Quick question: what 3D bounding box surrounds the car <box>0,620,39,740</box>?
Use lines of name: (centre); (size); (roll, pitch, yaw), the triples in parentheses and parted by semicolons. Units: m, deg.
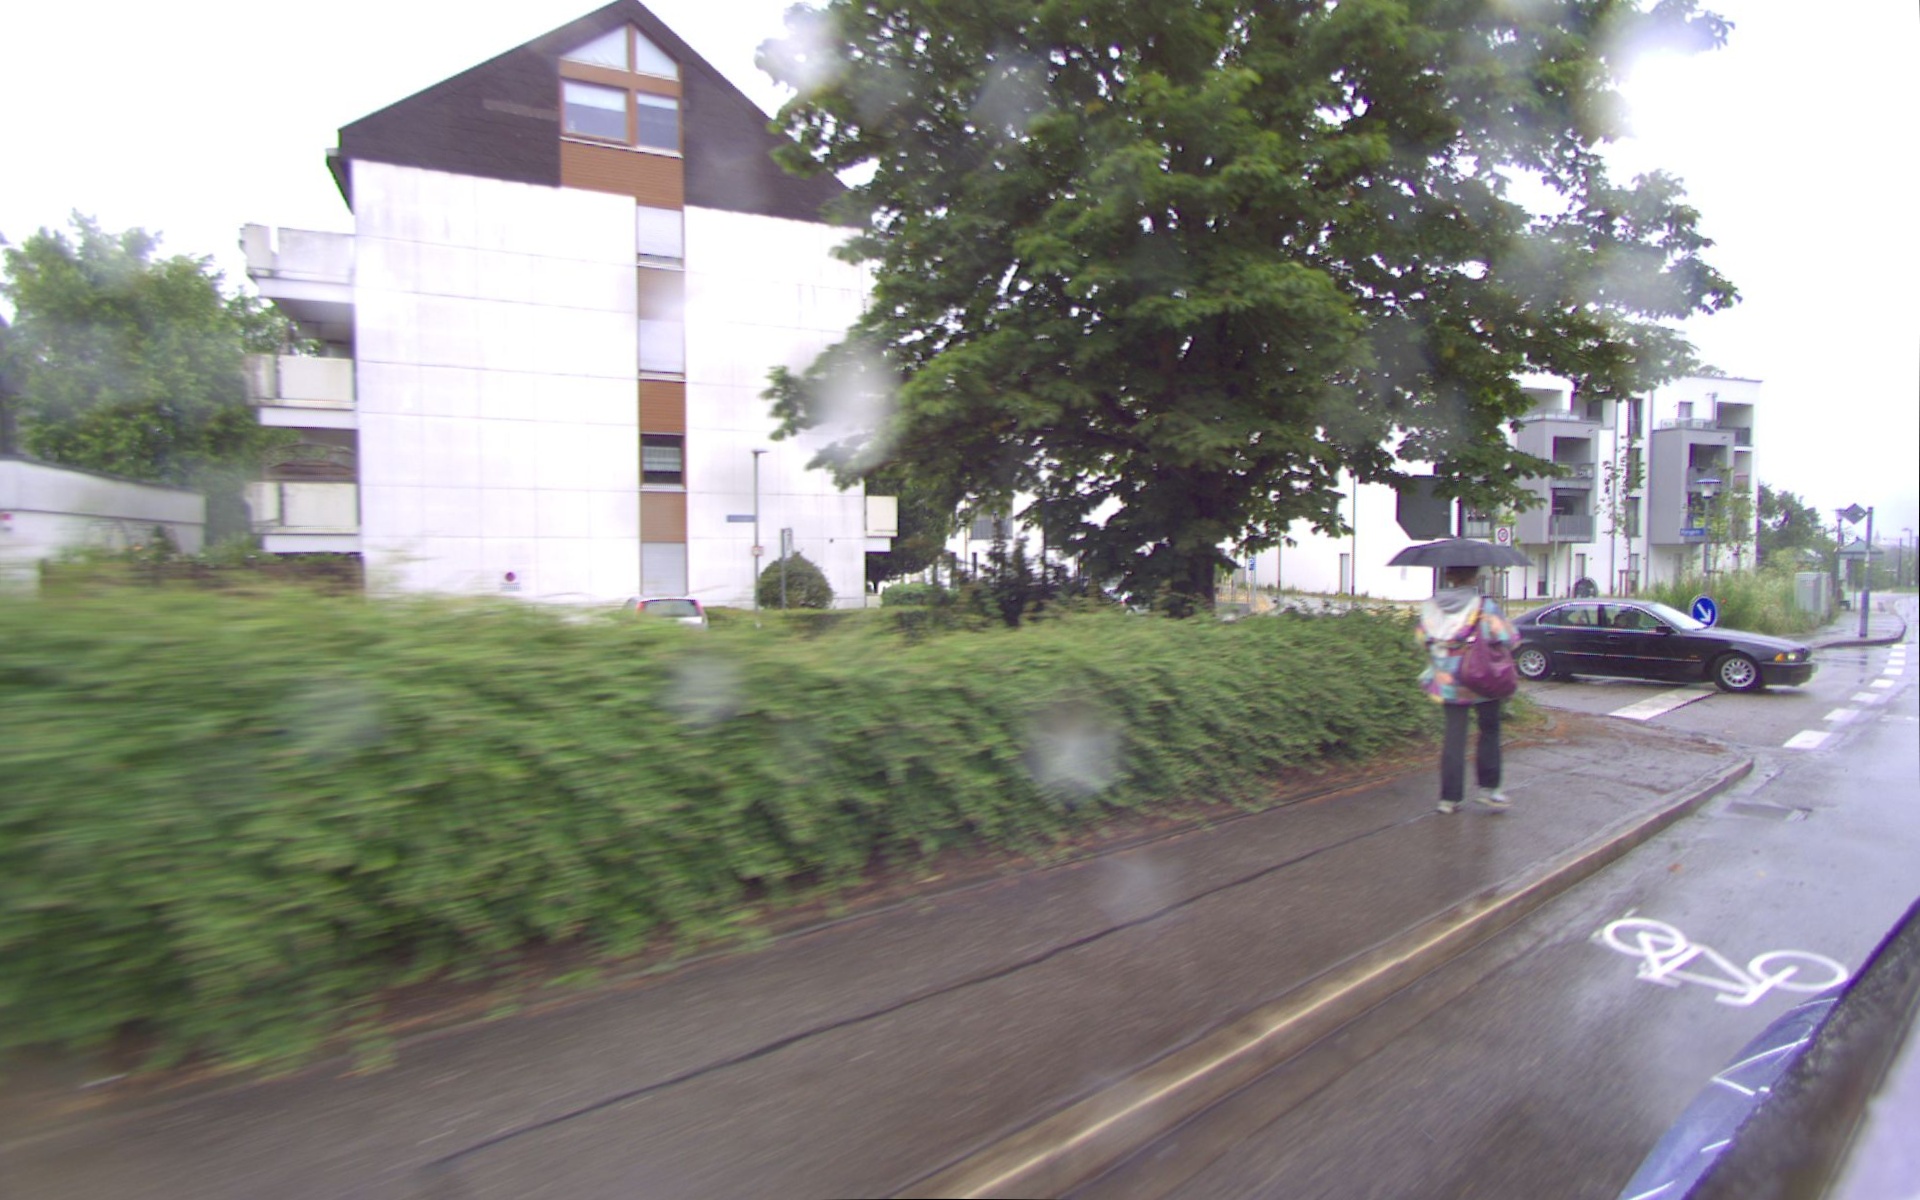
car: (-14.084, 1.005, 12.371); (3.923, 1.483, 1.924); (0, -1, -34)

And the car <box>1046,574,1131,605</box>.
car: (6.498, -0.520, 51.191); (3.916, 1.439, 1.764); (1, 2, -23)

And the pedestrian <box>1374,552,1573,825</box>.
pedestrian: (3.210, 0.494, 6.331); (0.857, 1.544, 0.770); (1, 2, -40)

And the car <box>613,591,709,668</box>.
car: (-6.597, 0.586, 22.102); (1.632, 1.427, 3.671); (1, 2, -22)

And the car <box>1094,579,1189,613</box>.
car: (8.289, -0.205, 46.244); (3.916, 1.439, 1.764); (1, 2, -22)

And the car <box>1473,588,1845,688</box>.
car: (11.409, 0.581, 16.855); (1.776, 1.433, 4.805); (2, -2, -40)
